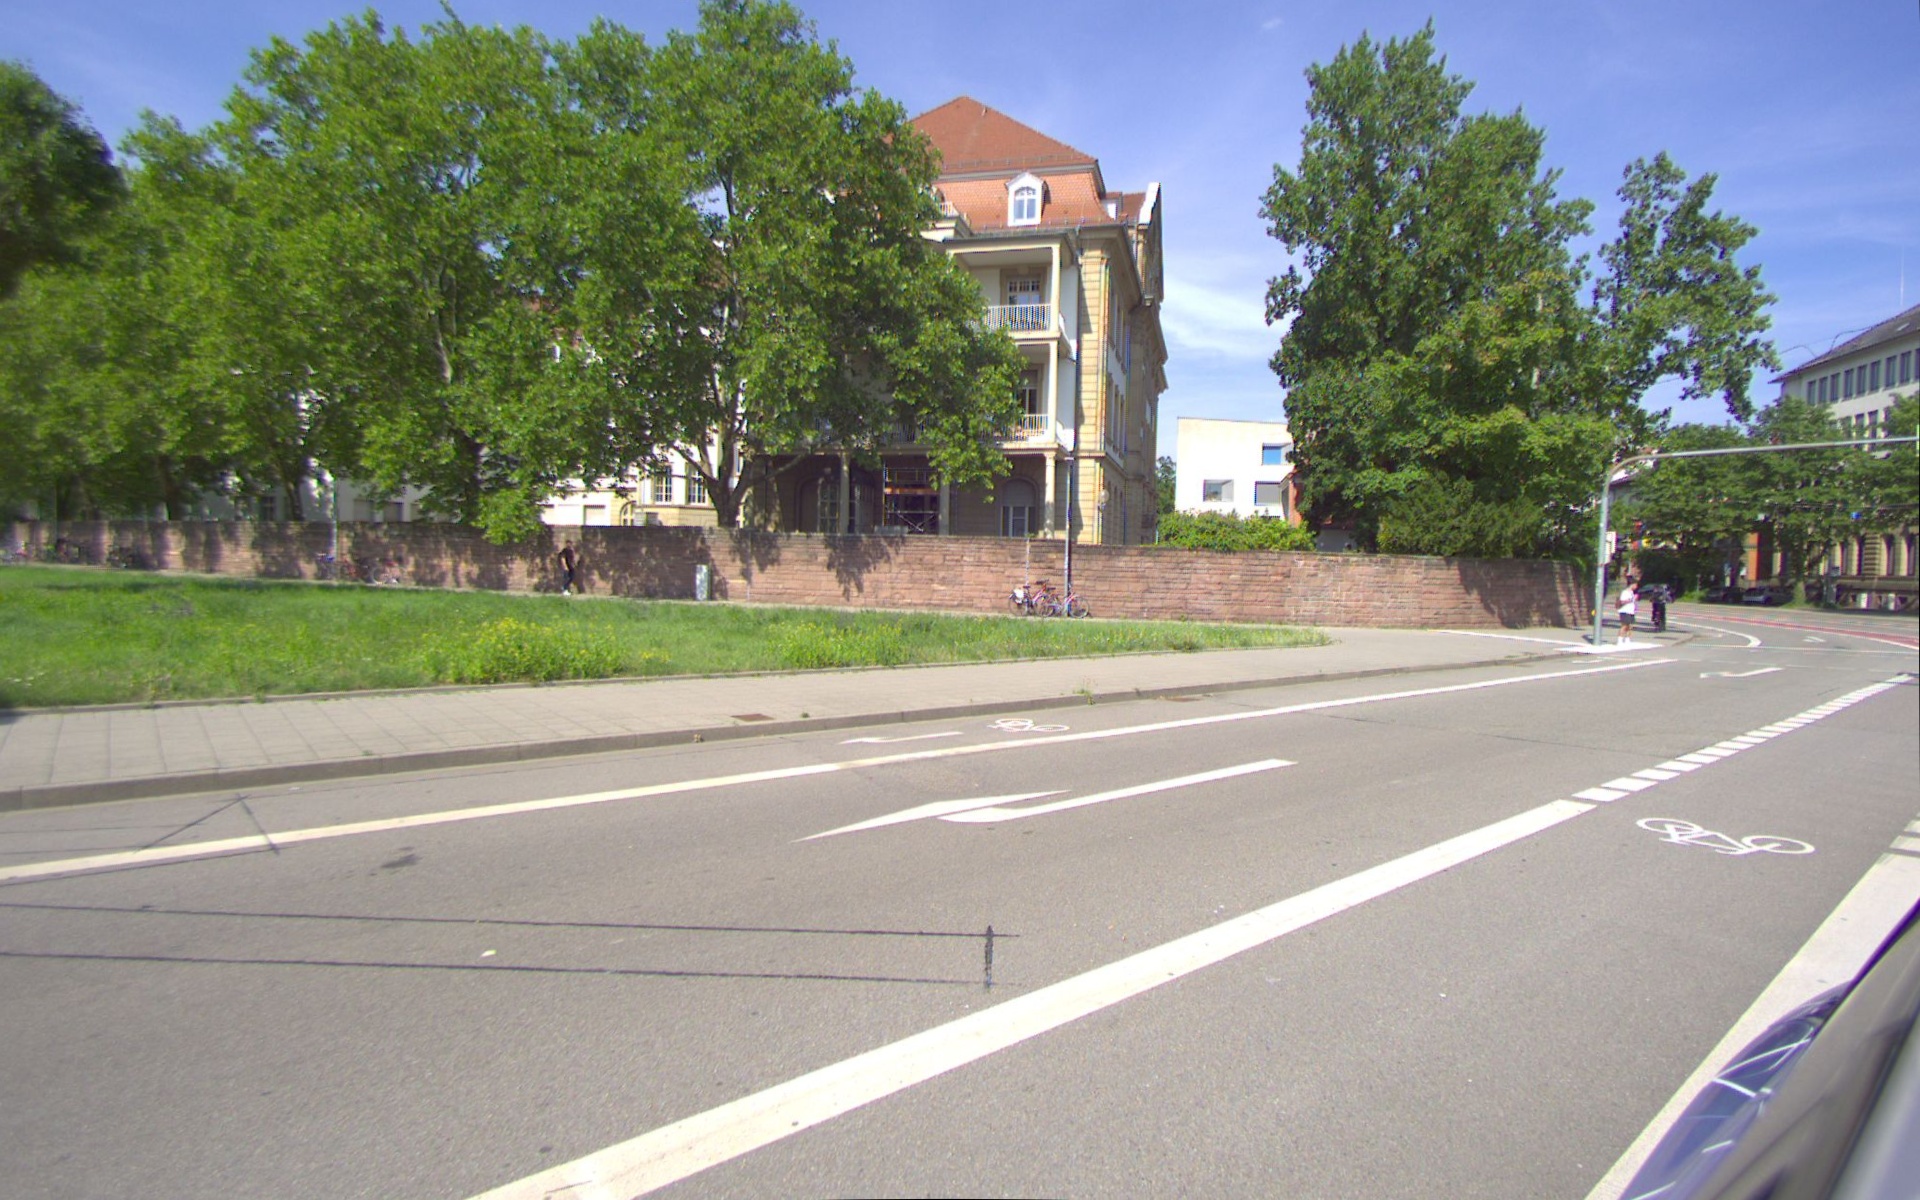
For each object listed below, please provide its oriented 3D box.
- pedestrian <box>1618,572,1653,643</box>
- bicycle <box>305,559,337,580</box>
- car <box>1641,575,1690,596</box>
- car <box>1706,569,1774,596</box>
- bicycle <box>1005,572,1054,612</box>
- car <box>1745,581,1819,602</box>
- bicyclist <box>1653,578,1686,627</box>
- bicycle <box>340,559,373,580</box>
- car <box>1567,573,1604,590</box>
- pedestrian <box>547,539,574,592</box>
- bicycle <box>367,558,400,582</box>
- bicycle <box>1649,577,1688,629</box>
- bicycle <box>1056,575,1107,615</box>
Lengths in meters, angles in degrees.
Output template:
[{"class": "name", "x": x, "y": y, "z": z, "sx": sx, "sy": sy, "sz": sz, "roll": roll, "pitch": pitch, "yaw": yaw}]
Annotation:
[{"class": "pedestrian", "x": 18.727, "y": 0.202, "z": 28.062, "sx": 0.649, "sy": 1.897, "sz": 0.788, "roll": 4, "pitch": 3, "yaw": 31}, {"class": "bicycle", "x": -24.498, "y": -1.180, "z": 38.778, "sx": 1.350, "sy": 0.737, "sz": 0.338, "roll": 3, "pitch": 2, "yaw": 23}, {"class": "car", "x": 56.703, "y": -1.208, "z": 81.434, "sx": 1.644, "sy": 1.468, "sz": 3.810, "roll": 3, "pitch": 3, "yaw": 9}, {"class": "car", "x": 65.057, "y": -1.477, "z": 84.471, "sx": 3.941, "sy": 2.038, "sz": 1.992, "roll": 2, "pitch": 2, "yaw": 14}, {"class": "bicycle", "x": 2.051, "y": -0.224, "z": 29.746, "sx": 1.406, "sy": 1.136, "sz": 0.350, "roll": 1, "pitch": 2, "yaw": -27}, {"class": "car", "x": 64.484, "y": -0.665, "z": 79.434, "sx": 3.941, "sy": 1.482, "sz": 1.992, "roll": 2, "pitch": 2, "yaw": 14}, {"class": "bicyclist", "x": 25.192, "y": 0.085, "z": 35.936, "sx": 0.903, "sy": 1.675, "sz": 0.679, "roll": 0, "pitch": 2, "yaw": -41}, {"class": "bicycle", "x": -22.816, "y": -1.145, "z": 38.238, "sx": 1.350, "sy": 0.737, "sz": 0.338, "roll": 3, "pitch": 2, "yaw": 23}, {"class": "car", "x": 61.316, "y": -1.829, "z": 99.315, "sx": 1.772, "sy": 1.429, "sz": 3.987, "roll": 3, "pitch": 3, "yaw": 12}, {"class": "pedestrian", "x": -13.446, "y": -1.159, "z": 34.063, "sx": 0.592, "sy": 1.761, "sz": 0.616, "roll": 2, "pitch": 2, "yaw": 20}, {"class": "bicycle", "x": -21.454, "y": -1.127, "z": 37.647, "sx": 1.294, "sy": 0.866, "sz": 0.369, "roll": 3, "pitch": 2, "yaw": 25}, {"class": "bicycle", "x": 25.162, "y": 0.091, "z": 35.934, "sx": 1.779, "sy": 1.787, "sz": 0.679, "roll": 0, "pitch": 3, "yaw": -41}, {"class": "bicycle", "x": 3.572, "y": -0.153, "z": 29.847, "sx": 1.406, "sy": 1.136, "sz": 0.350, "roll": 1, "pitch": 2, "yaw": -6}]
